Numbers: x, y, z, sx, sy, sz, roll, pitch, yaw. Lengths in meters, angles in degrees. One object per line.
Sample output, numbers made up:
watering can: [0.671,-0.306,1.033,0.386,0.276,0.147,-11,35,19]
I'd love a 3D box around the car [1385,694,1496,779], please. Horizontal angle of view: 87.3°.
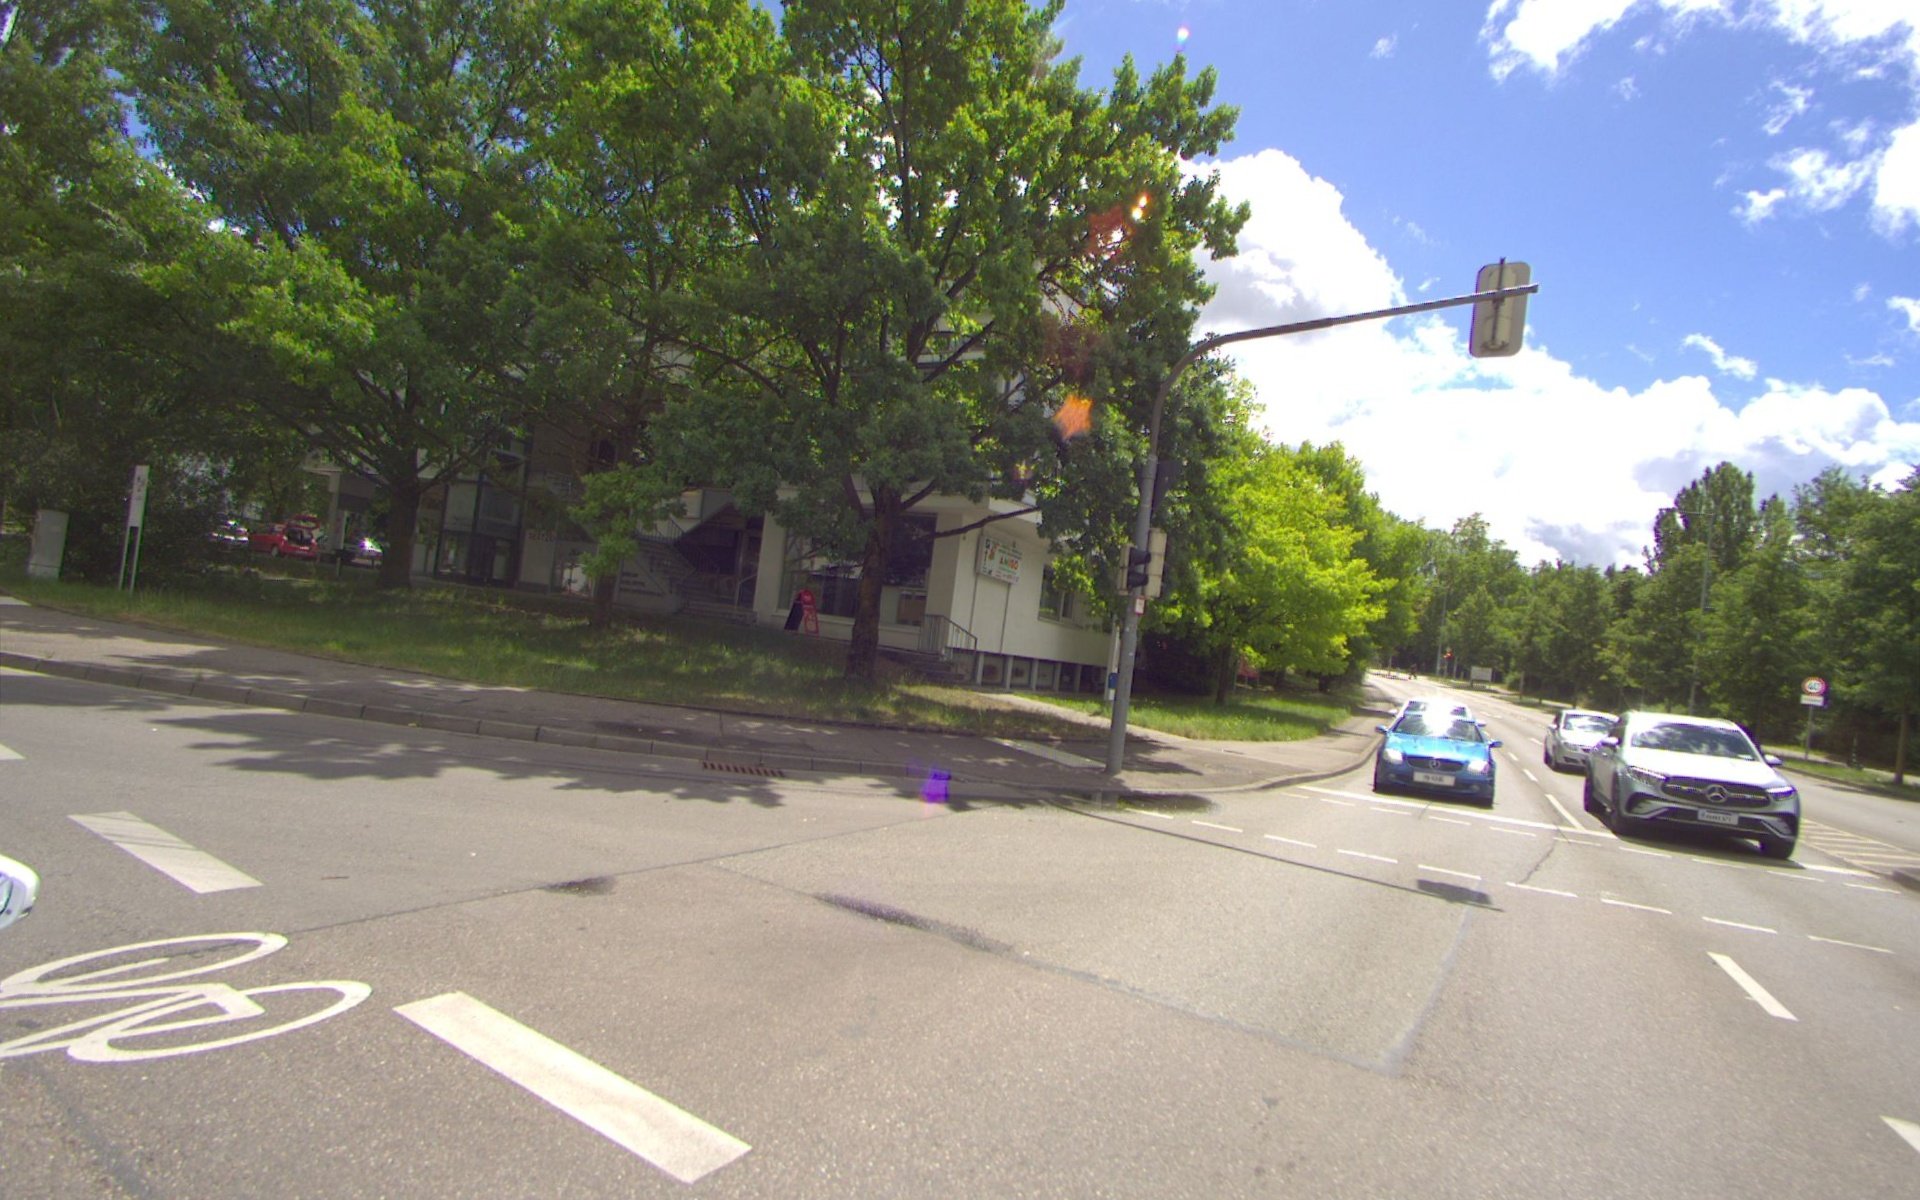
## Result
car: [10.676,2.944,22.479,1.917,1.431,4.402,5,-2,25]

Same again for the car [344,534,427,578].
car: [-27.785,-2.151,48.628,3.934,1.547,1.746,8,0,32]

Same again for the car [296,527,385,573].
car: [-28.087,-2.271,45.589,3.934,1.488,1.746,8,0,32]

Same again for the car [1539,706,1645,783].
car: [15.257,3.443,24.472,1.580,1.429,3.897,5,-2,25]

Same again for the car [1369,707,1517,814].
car: [7.976,2.536,16.618,1.880,1.239,3.969,5,-2,27]

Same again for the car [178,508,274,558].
car: [-30.764,-2.821,42.144,3.936,1.508,1.942,8,-1,35]

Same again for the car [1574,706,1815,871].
car: [10.090,2.459,14.230,1.890,1.610,4.653,5,-2,27]

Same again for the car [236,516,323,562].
car: [-29.758,-2.663,43.987,3.936,1.460,1.745,8,0,35]

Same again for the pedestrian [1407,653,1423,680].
pedestrian: [48.222,7.059,106.655,1.136,2.682,1.535,8,0,27]
